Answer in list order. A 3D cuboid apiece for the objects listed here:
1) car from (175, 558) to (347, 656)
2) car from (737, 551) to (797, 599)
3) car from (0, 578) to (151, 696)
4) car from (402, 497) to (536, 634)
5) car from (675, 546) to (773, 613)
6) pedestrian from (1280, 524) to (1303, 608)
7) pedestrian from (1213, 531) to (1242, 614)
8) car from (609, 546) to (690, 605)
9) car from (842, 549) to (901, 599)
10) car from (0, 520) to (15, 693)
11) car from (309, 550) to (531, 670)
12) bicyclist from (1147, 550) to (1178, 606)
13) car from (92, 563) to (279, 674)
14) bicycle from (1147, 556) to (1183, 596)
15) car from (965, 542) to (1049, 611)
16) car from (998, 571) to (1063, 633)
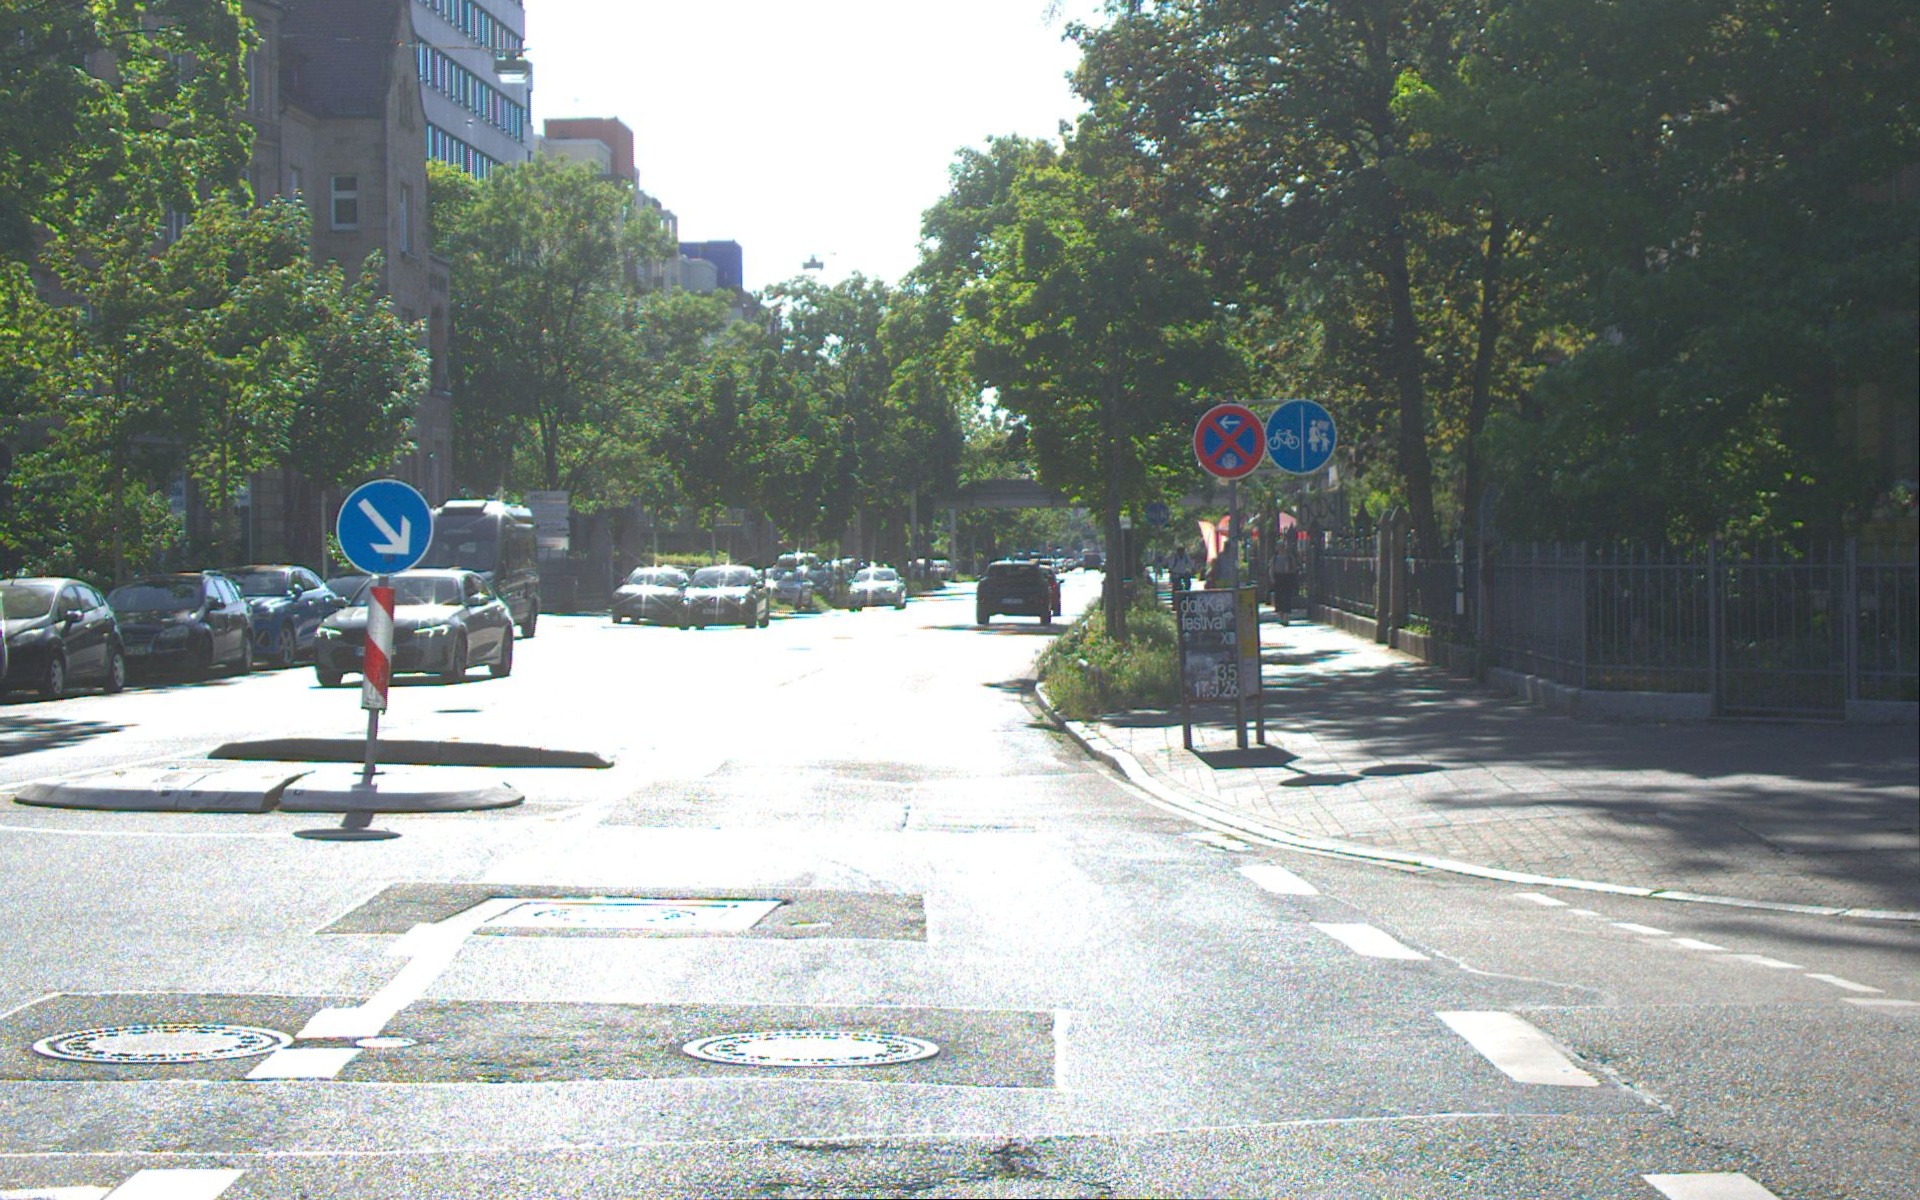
[{"bbox_3d":[-10.680,0.077,52.727,1.524,1.427,3.553,0,1,7],"label":"car"},{"bbox_3d":[-6.711,-0.860,119.866,1.935,1.514,4.030,1,-2,-1],"label":"car"},{"bbox_3d":[-11.261,0.477,41.893,1.713,1.348,3.999,1,-2,2],"label":"car"},{"bbox_3d":[-9.844,-0.729,69.299,1.826,2.642,5.162,0,1,1],"label":"car"},{"bbox_3d":[-5.429,-0.493,79.478,1.639,1.514,4.030,0,1,5],"label":"car"},{"bbox_3d":[8.004,-0.826,83.080,0.476,2.007,0.492,1,-2,-1],"label":"pedestrian"},{"bbox_3d":[6.508,-0.675,83.721,0.614,2.007,0.681,0,1,-1],"label":"pedestrian"},{"bbox_3d":[-8.139,-0.653,90.329,1.802,1.499,3.808,0,1,-1],"label":"car"},{"bbox_3d":[-2.982,-0.859,116.631,1.935,1.514,4.030,1,-2,-1],"label":"car"},{"bbox_3d":[-11.692,0.104,36.445,2.198,1.923,4.863,0,1,-3],"label":"car"},{"bbox_3d":[-6.881,0.122,44.243,1.784,1.455,4.414,0,0,5],"label":"car"},{"bbox_3d":[4.918,-0.538,83.362,0.680,1.323,0.636,1,-2,-2],"label":"bicyclist"},{"bbox_3d":[-10.576,0.279,47.127,1.523,1.428,3.336,0,-2,5],"label":"car"},{"bbox_3d":[4.959,-0.581,83.310,0.675,0.935,2.281,0,-1,-2],"label":"bicycle"},{"bbox_3d":[1.127,-0.601,84.306,1.894,1.513,4.001,2,2,-1],"label":"car"},{"bbox_3d":[2.094,0.030,100.895,1.819,1.734,4.000,0,1,2],"label":"car"}]
